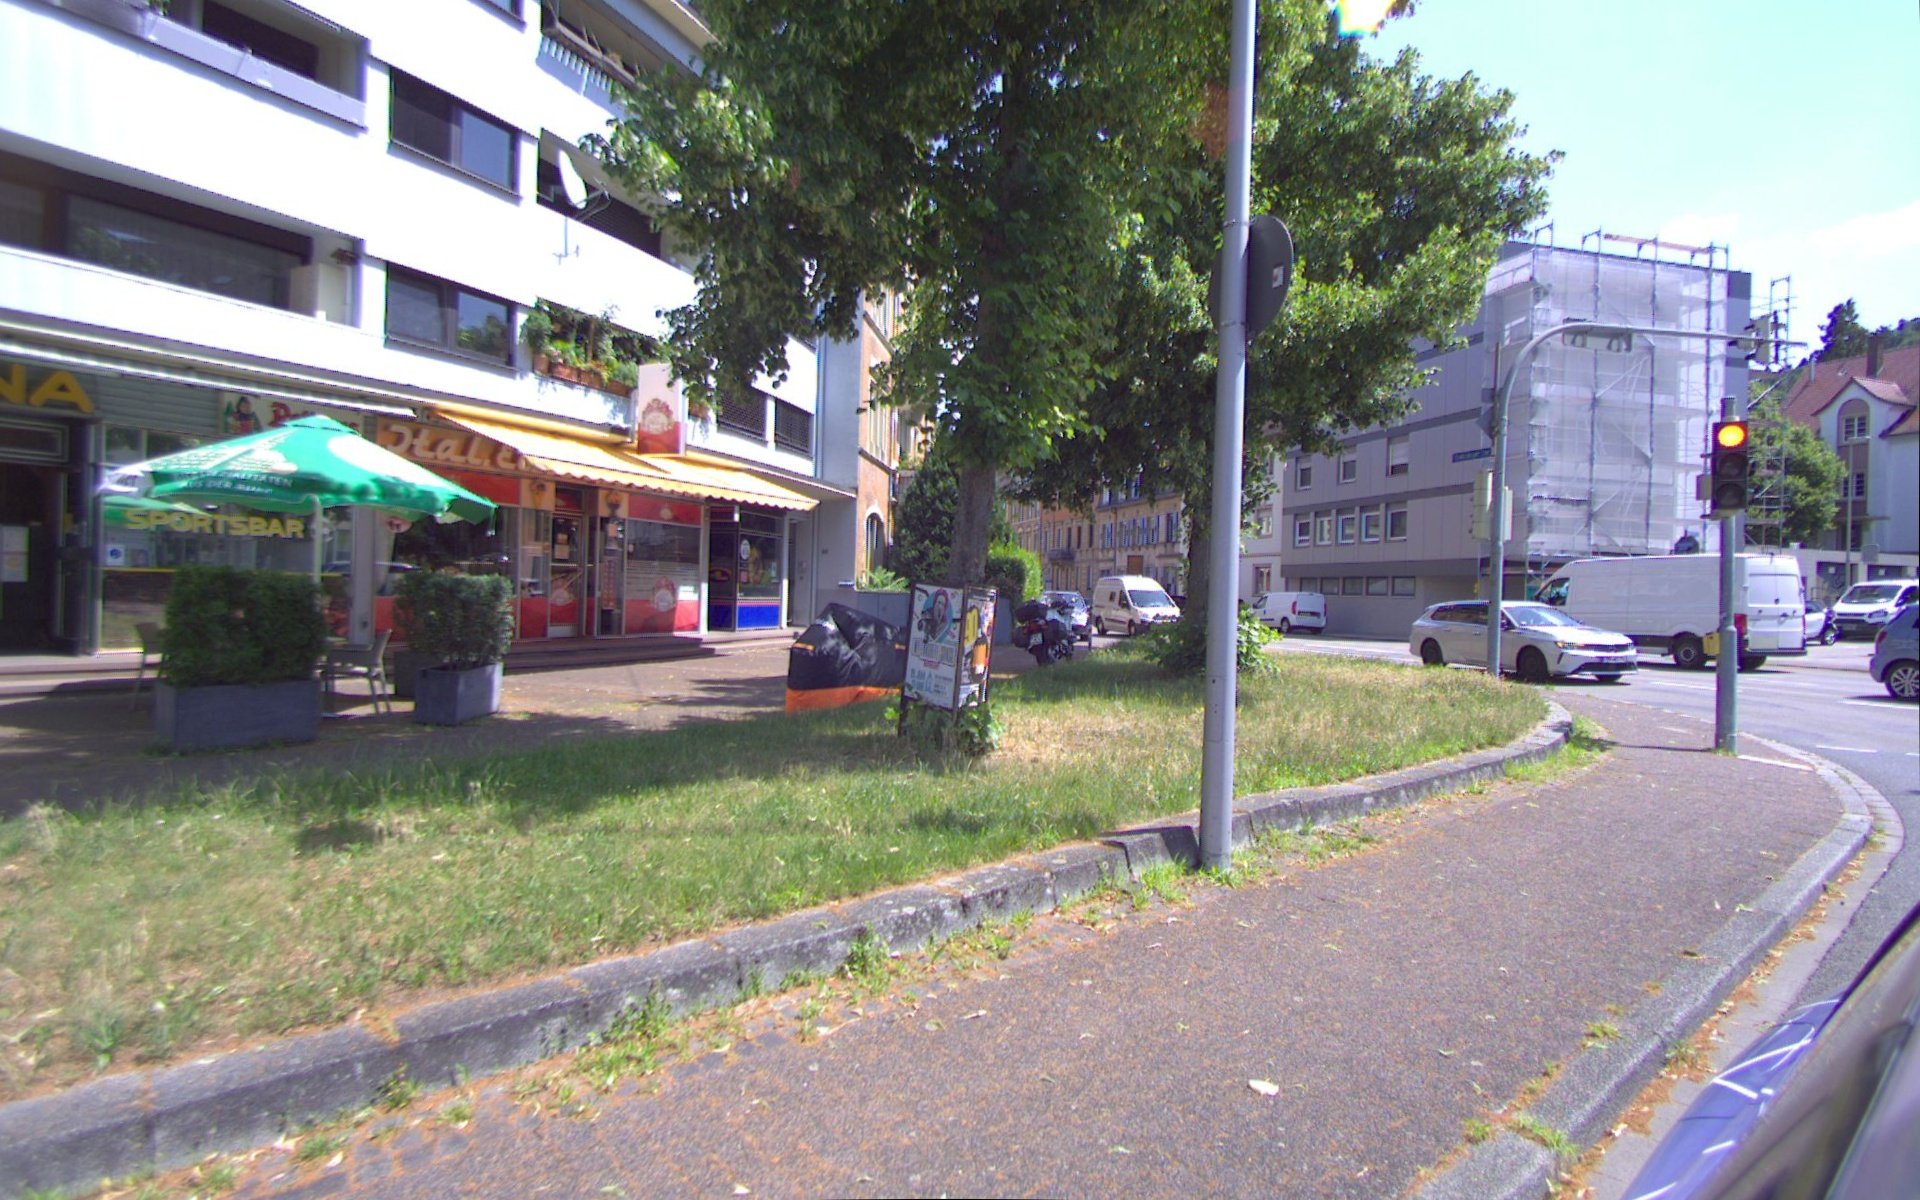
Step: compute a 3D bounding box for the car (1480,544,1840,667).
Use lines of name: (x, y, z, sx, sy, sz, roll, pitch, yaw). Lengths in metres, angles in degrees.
car: (16.570, -0.010, 24.829, 2.176, 2.532, 7.572, 0, 2, -16)

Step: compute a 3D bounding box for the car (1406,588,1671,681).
car: (10.878, 0.572, 19.487, 1.866, 1.516, 4.496, 1, 1, -13)

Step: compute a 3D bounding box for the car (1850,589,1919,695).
car: (15.537, 0.657, 14.392, 1.723, 1.588, 4.009, 1, 1, -17)

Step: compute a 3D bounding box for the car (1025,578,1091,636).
car: (3.025, 0.220, 30.850, 1.809, 1.568, 5.145, 2, -1, 7)

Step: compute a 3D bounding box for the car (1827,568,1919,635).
car: (32.598, 0.008, 34.761, 4.908, 2.038, 2.004, -3, 1, -18)

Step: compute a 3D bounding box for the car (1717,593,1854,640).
car: (27.327, 0.509, 33.515, 3.661, 1.465, 1.762, 0, 0, -17)

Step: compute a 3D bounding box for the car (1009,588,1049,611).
car: (5.670, -0.062, 83.413, 1.832, 1.648, 4.510, 5, 0, -15)

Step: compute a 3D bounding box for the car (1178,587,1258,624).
car: (13.137, 0.241, 51.765, 1.851, 1.661, 4.673, 2, 1, -15)

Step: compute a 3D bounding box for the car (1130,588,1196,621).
car: (11.534, 0.234, 57.928, 1.851, 1.661, 4.828, 2, 1, -13)

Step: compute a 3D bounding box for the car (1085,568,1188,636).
car: (6.459, 0.024, 37.766, 1.867, 2.303, 5.683, 1, 1, -10)

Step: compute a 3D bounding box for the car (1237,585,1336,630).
car: (14.718, 0.290, 45.935, 1.879, 1.848, 4.799, 2, 0, -15)

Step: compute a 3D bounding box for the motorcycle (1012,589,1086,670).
motorcycle: (1.586, 0.467, 17.729, 0.905, 1.329, 2.214, 0, 1, 16)

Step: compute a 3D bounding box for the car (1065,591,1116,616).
car: (8.971, 0.217, 70.043, 1.831, 1.424, 4.341, 5, 0, -17)

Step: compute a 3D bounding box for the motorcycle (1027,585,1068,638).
motorcycle: (2.353, 0.314, 26.996, 0.917, 1.319, 2.275, 2, -1, 8)
